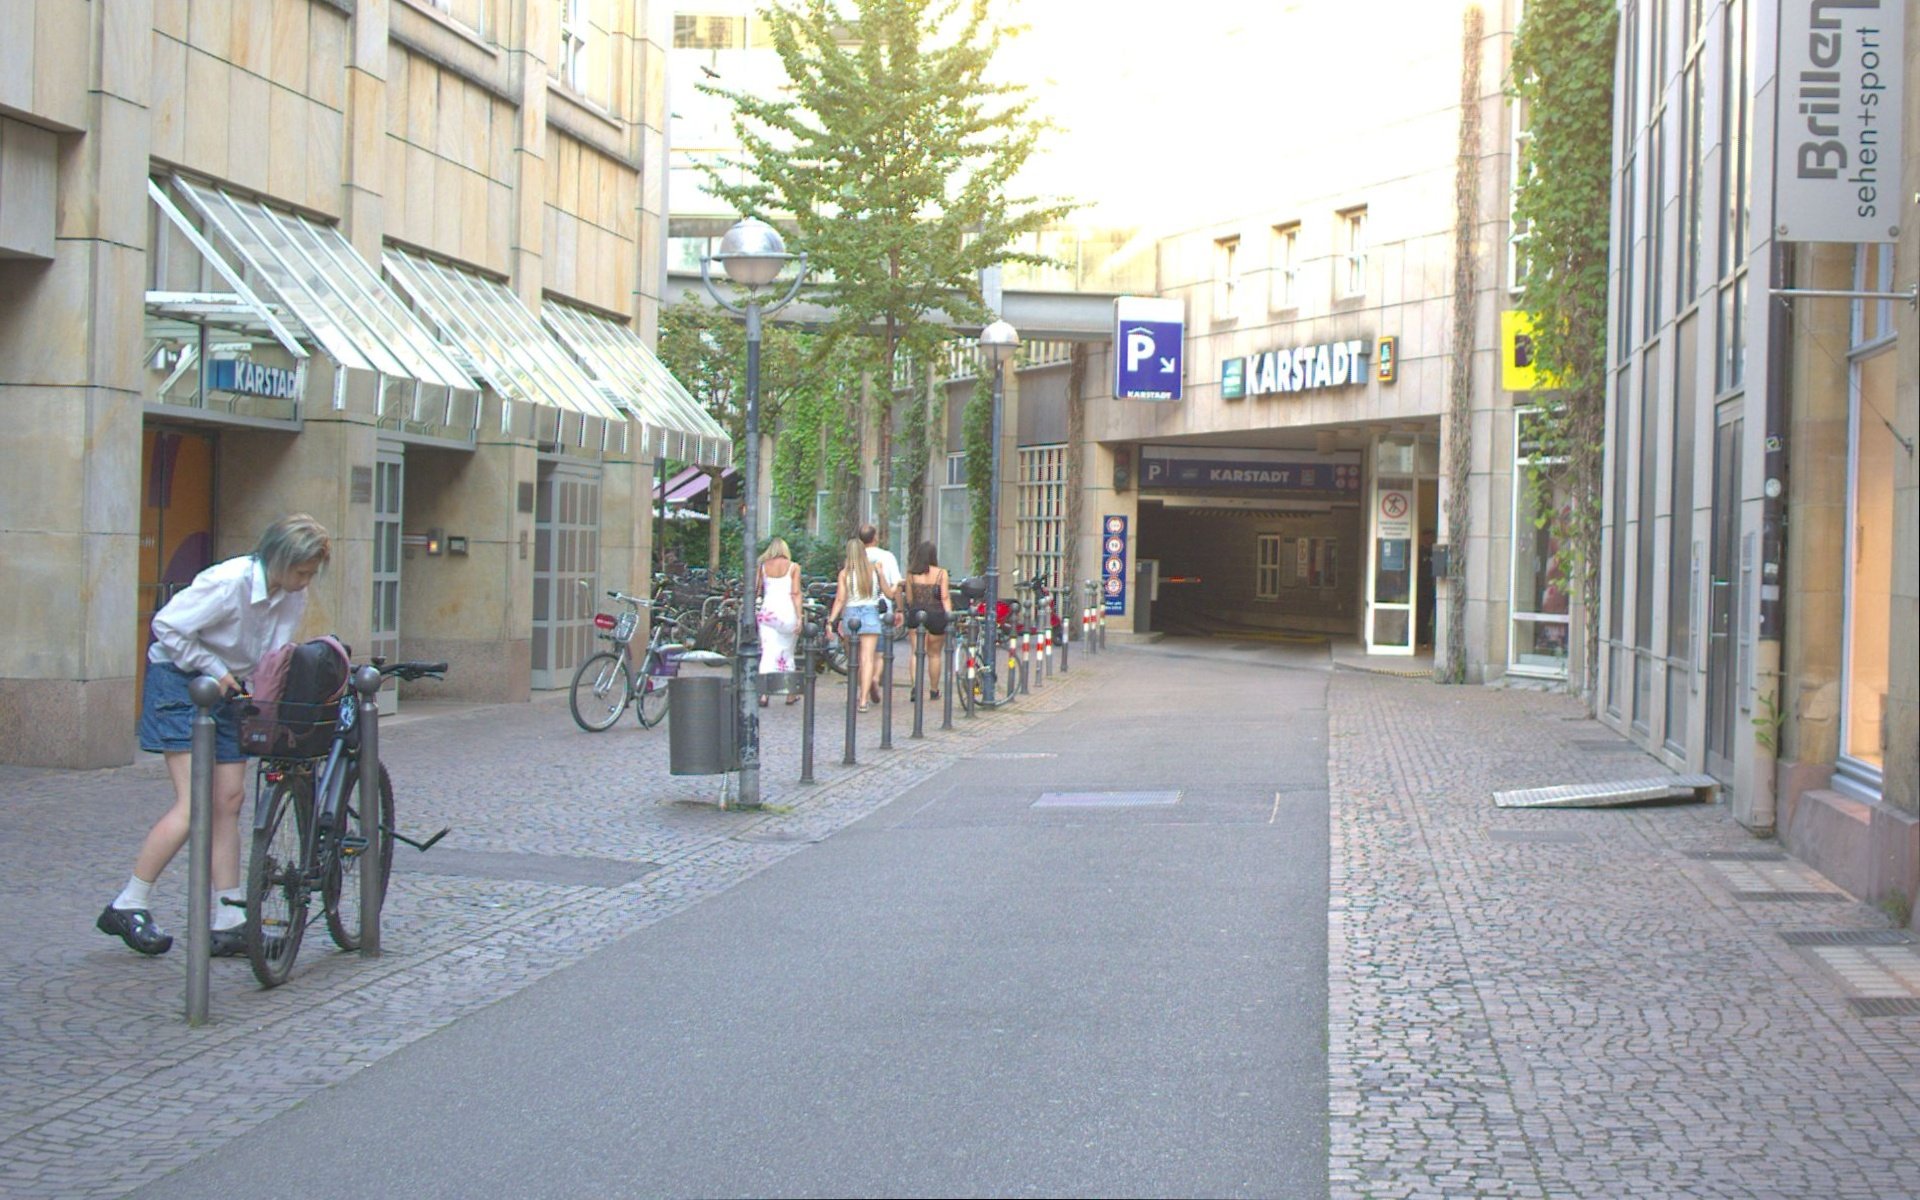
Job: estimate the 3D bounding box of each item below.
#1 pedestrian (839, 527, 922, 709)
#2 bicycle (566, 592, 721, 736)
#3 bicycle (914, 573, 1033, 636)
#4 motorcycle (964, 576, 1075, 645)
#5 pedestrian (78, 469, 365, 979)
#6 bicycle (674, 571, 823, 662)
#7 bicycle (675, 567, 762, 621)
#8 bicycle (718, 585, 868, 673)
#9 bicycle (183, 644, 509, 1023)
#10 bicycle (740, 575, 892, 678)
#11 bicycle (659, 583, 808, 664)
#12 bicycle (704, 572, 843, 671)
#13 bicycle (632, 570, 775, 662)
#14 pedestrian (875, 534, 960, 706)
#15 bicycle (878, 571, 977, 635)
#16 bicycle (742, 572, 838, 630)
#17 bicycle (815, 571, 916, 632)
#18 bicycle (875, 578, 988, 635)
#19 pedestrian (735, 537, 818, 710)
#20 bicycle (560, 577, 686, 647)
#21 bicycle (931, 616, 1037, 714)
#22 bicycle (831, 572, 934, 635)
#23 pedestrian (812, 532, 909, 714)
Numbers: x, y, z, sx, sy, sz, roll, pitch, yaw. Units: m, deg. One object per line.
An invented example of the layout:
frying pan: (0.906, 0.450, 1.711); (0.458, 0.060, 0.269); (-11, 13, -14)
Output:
pedestrian: (-0.805, 0.172, 34.964); (0.742, 1.816, 0.878); (1, 1, 4)
bicycle: (-2.609, 0.514, 28.501); (0.522, 1.134, 1.762); (1, 1, 22)
bicycle: (0.220, 0.073, 55.377); (1.847, 0.979, 0.464); (1, 1, -14)
motorcycle: (0.926, 0.162, 53.681); (1.662, 1.047, 0.464); (1, 1, -14)
pedestrian: (-2.590, 0.419, 12.107); (0.768, 1.712, 0.591); (3, 1, 5)
bicycle: (-2.771, 0.218, 44.987); (1.872, 1.173, 0.534); (0, 1, -16)
bicycle: (-5.105, -0.121, 72.726); (1.773, 1.111, 0.543); (1, 1, -12)
bicycle: (-2.139, 0.369, 43.963); (1.836, 1.118, 0.534); (0, 1, -16)
bicycle: (-2.114, 0.767, 12.075); (0.533, 1.150, 1.914); (3, 1, 7)
bicycle: (-1.750, 0.317, 41.739); (1.766, 1.226, 0.534); (0, 1, -16)
bicycle: (-2.999, 0.312, 45.545); (1.893, 1.048, 0.534); (0, 1, -16)
bicycle: (-2.339, 0.268, 43.086); (1.653, 1.226, 0.534); (0, 1, -16)
bicycle: (-3.449, 0.212, 46.269); (1.833, 1.221, 0.534); (0, 1, -16)
pedestrian: (-0.444, 0.201, 36.403); (0.785, 1.789, 0.972); (1, 1, 5)
bicycle: (-0.549, 0.047, 57.281); (1.539, 1.045, 0.575); (1, 1, -14)
bicycle: (-3.308, 0.020, 66.731); (1.773, 1.111, 0.543); (1, 1, -14)
bicycle: (-1.744, 0.029, 63.225); (1.773, 1.111, 0.543); (1, 1, -14)
bicycle: (-0.467, 0.105, 56.207); (1.773, 0.901, 0.464); (1, 1, -14)
pedestrian: (-1.787, 0.221, 33.594); (0.675, 1.659, 0.860); (1, 1, 3)
bicycle: (-5.104, 0.185, 52.016); (1.824, 1.039, 0.534); (0, 1, -16)
bicycle: (0.256, 0.651, 35.046); (0.493, 0.935, 1.657); (3, 1, 21)
bicycle: (-1.398, 0.062, 62.017); (1.773, 1.111, 0.543); (1, 1, -14)
pedestrian: (-0.961, 0.215, 33.364); (0.806, 1.723, 0.948); (1, 1, 5)
